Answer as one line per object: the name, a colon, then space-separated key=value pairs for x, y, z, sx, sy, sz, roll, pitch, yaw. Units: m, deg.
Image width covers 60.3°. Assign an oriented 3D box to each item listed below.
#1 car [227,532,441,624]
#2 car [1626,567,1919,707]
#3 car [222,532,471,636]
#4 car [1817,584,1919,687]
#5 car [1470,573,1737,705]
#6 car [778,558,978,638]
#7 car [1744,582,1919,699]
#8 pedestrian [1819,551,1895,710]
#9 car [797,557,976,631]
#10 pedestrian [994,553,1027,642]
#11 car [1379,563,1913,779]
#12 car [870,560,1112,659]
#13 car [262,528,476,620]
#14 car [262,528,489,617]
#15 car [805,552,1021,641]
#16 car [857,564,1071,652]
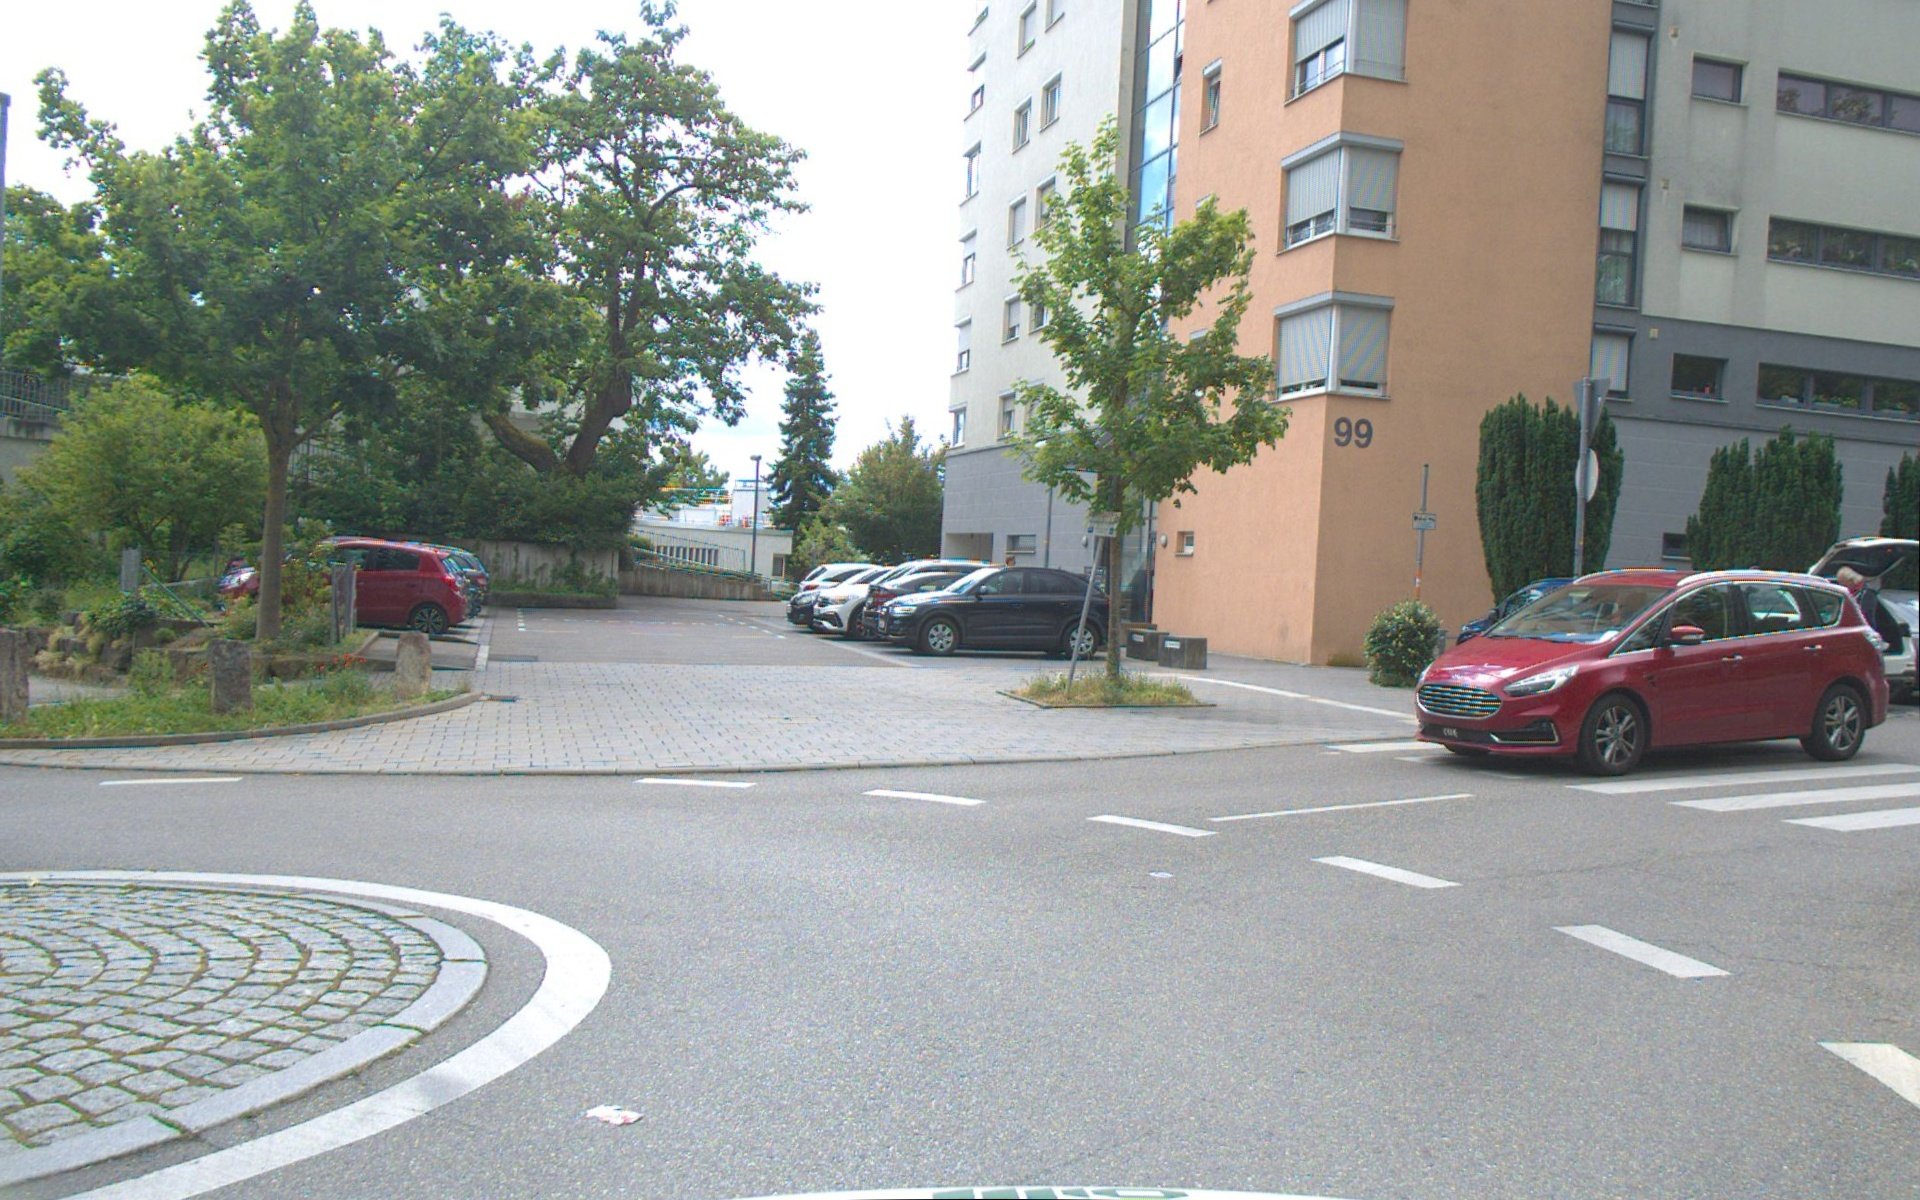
car: x=-11.682 y=-0.393 z=31.093 sx=3.593 sy=1.524 sz=1.676 roll=2 pitch=0 yaw=-18
car: x=10.705 y=0.428 z=21.884 sx=1.543 sy=1.688 sz=3.760 roll=0 pitch=0 yaw=-16
car: x=-9.771 y=-0.236 z=26.592 sx=3.593 sy=1.464 sz=1.676 roll=2 pitch=0 yaw=-18
car: x=14.737 y=0.515 z=24.386 sx=1.610 sy=1.508 sz=3.760 roll=0 pitch=0 yaw=-16
car: x=8.112 y=0.442 z=21.165 sx=1.474 sy=1.502 sz=3.515 roll=-2 pitch=1 yaw=-13
car: x=-1.777 y=-0.030 z=35.718 sx=3.979 sy=1.544 sz=1.747 roll=2 pitch=0 yaw=-19
car: x=12.777 y=0.512 z=22.654 sx=1.610 sy=1.508 sz=3.760 roll=0 pitch=0 yaw=-16
pedestrian: x=10.596 y=0.358 z=19.540 sx=0.571 sy=1.844 sz=0.483 roll=2 pitch=-1 yaw=-14
car: x=-1.746 y=-0.126 z=38.788 sx=3.912 sy=1.544 sz=1.751 roll=2 pitch=0 yaw=-13
pedestrian: x=1.088 y=-0.056 z=35.805 sx=0.472 sy=1.885 sz=0.503 roll=2 pitch=-1 yaw=-26
car: x=6.144 y=0.519 z=14.777 sx=4.464 sy=1.673 sz=1.965 roll=-1 pitch=1 yaw=-25
car: x=0.525 y=0.173 z=29.394 sx=3.971 sy=1.544 sz=1.750 roll=2 pitch=0 yaw=-13
car: x=-11.977 y=-0.504 z=33.643 sx=3.928 sy=1.642 sz=1.933 roll=2 pitch=0 yaw=-21
car: x=-12.696 y=-0.575 z=36.072 sx=4.477 sy=1.697 sz=1.933 roll=2 pitch=0 yaw=-21
car: x=-0.968 y=-0.066 z=33.866 sx=4.058 sy=1.621 sz=1.683 roll=2 pitch=-1 yaw=-20
car: x=0.045 y=0.152 z=31.447 sx=3.761 sy=1.484 sz=1.687 roll=2 pitch=0 yaw=-13
